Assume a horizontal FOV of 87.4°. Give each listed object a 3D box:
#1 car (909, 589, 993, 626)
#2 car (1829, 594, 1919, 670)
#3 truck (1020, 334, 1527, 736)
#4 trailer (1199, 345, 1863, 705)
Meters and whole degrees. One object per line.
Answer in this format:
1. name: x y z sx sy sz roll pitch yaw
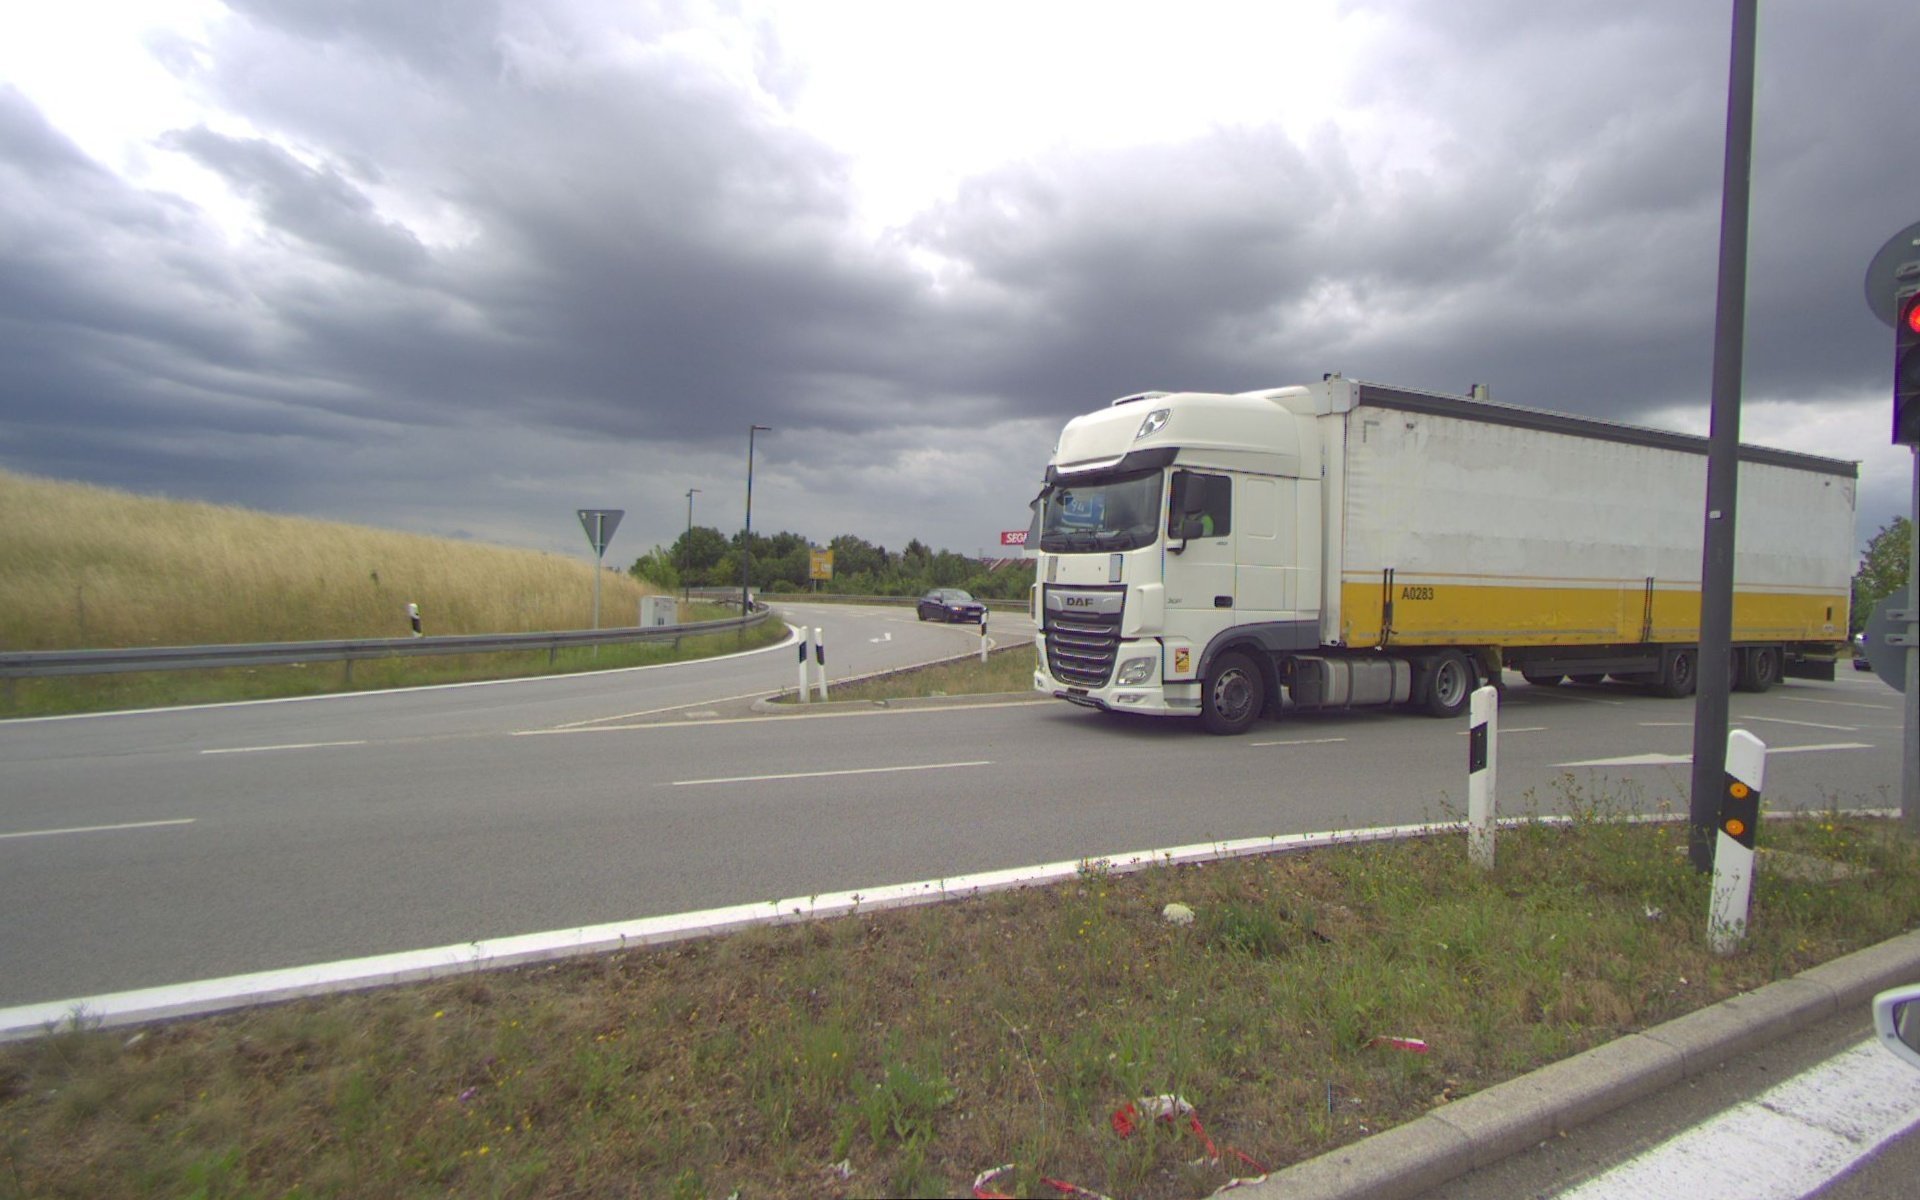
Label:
1. car: -0.446 0.295 41.816 1.690 1.429 4.644 2 0 -26
2. car: 23.218 0.777 24.311 4.403 1.716 1.984 2 0 -30
3. truck: 4.208 -0.600 13.177 6.325 4.196 2.638 2 0 -29
4. trailer: 10.054 -0.702 16.443 13.673 4.266 2.680 2 0 -29
